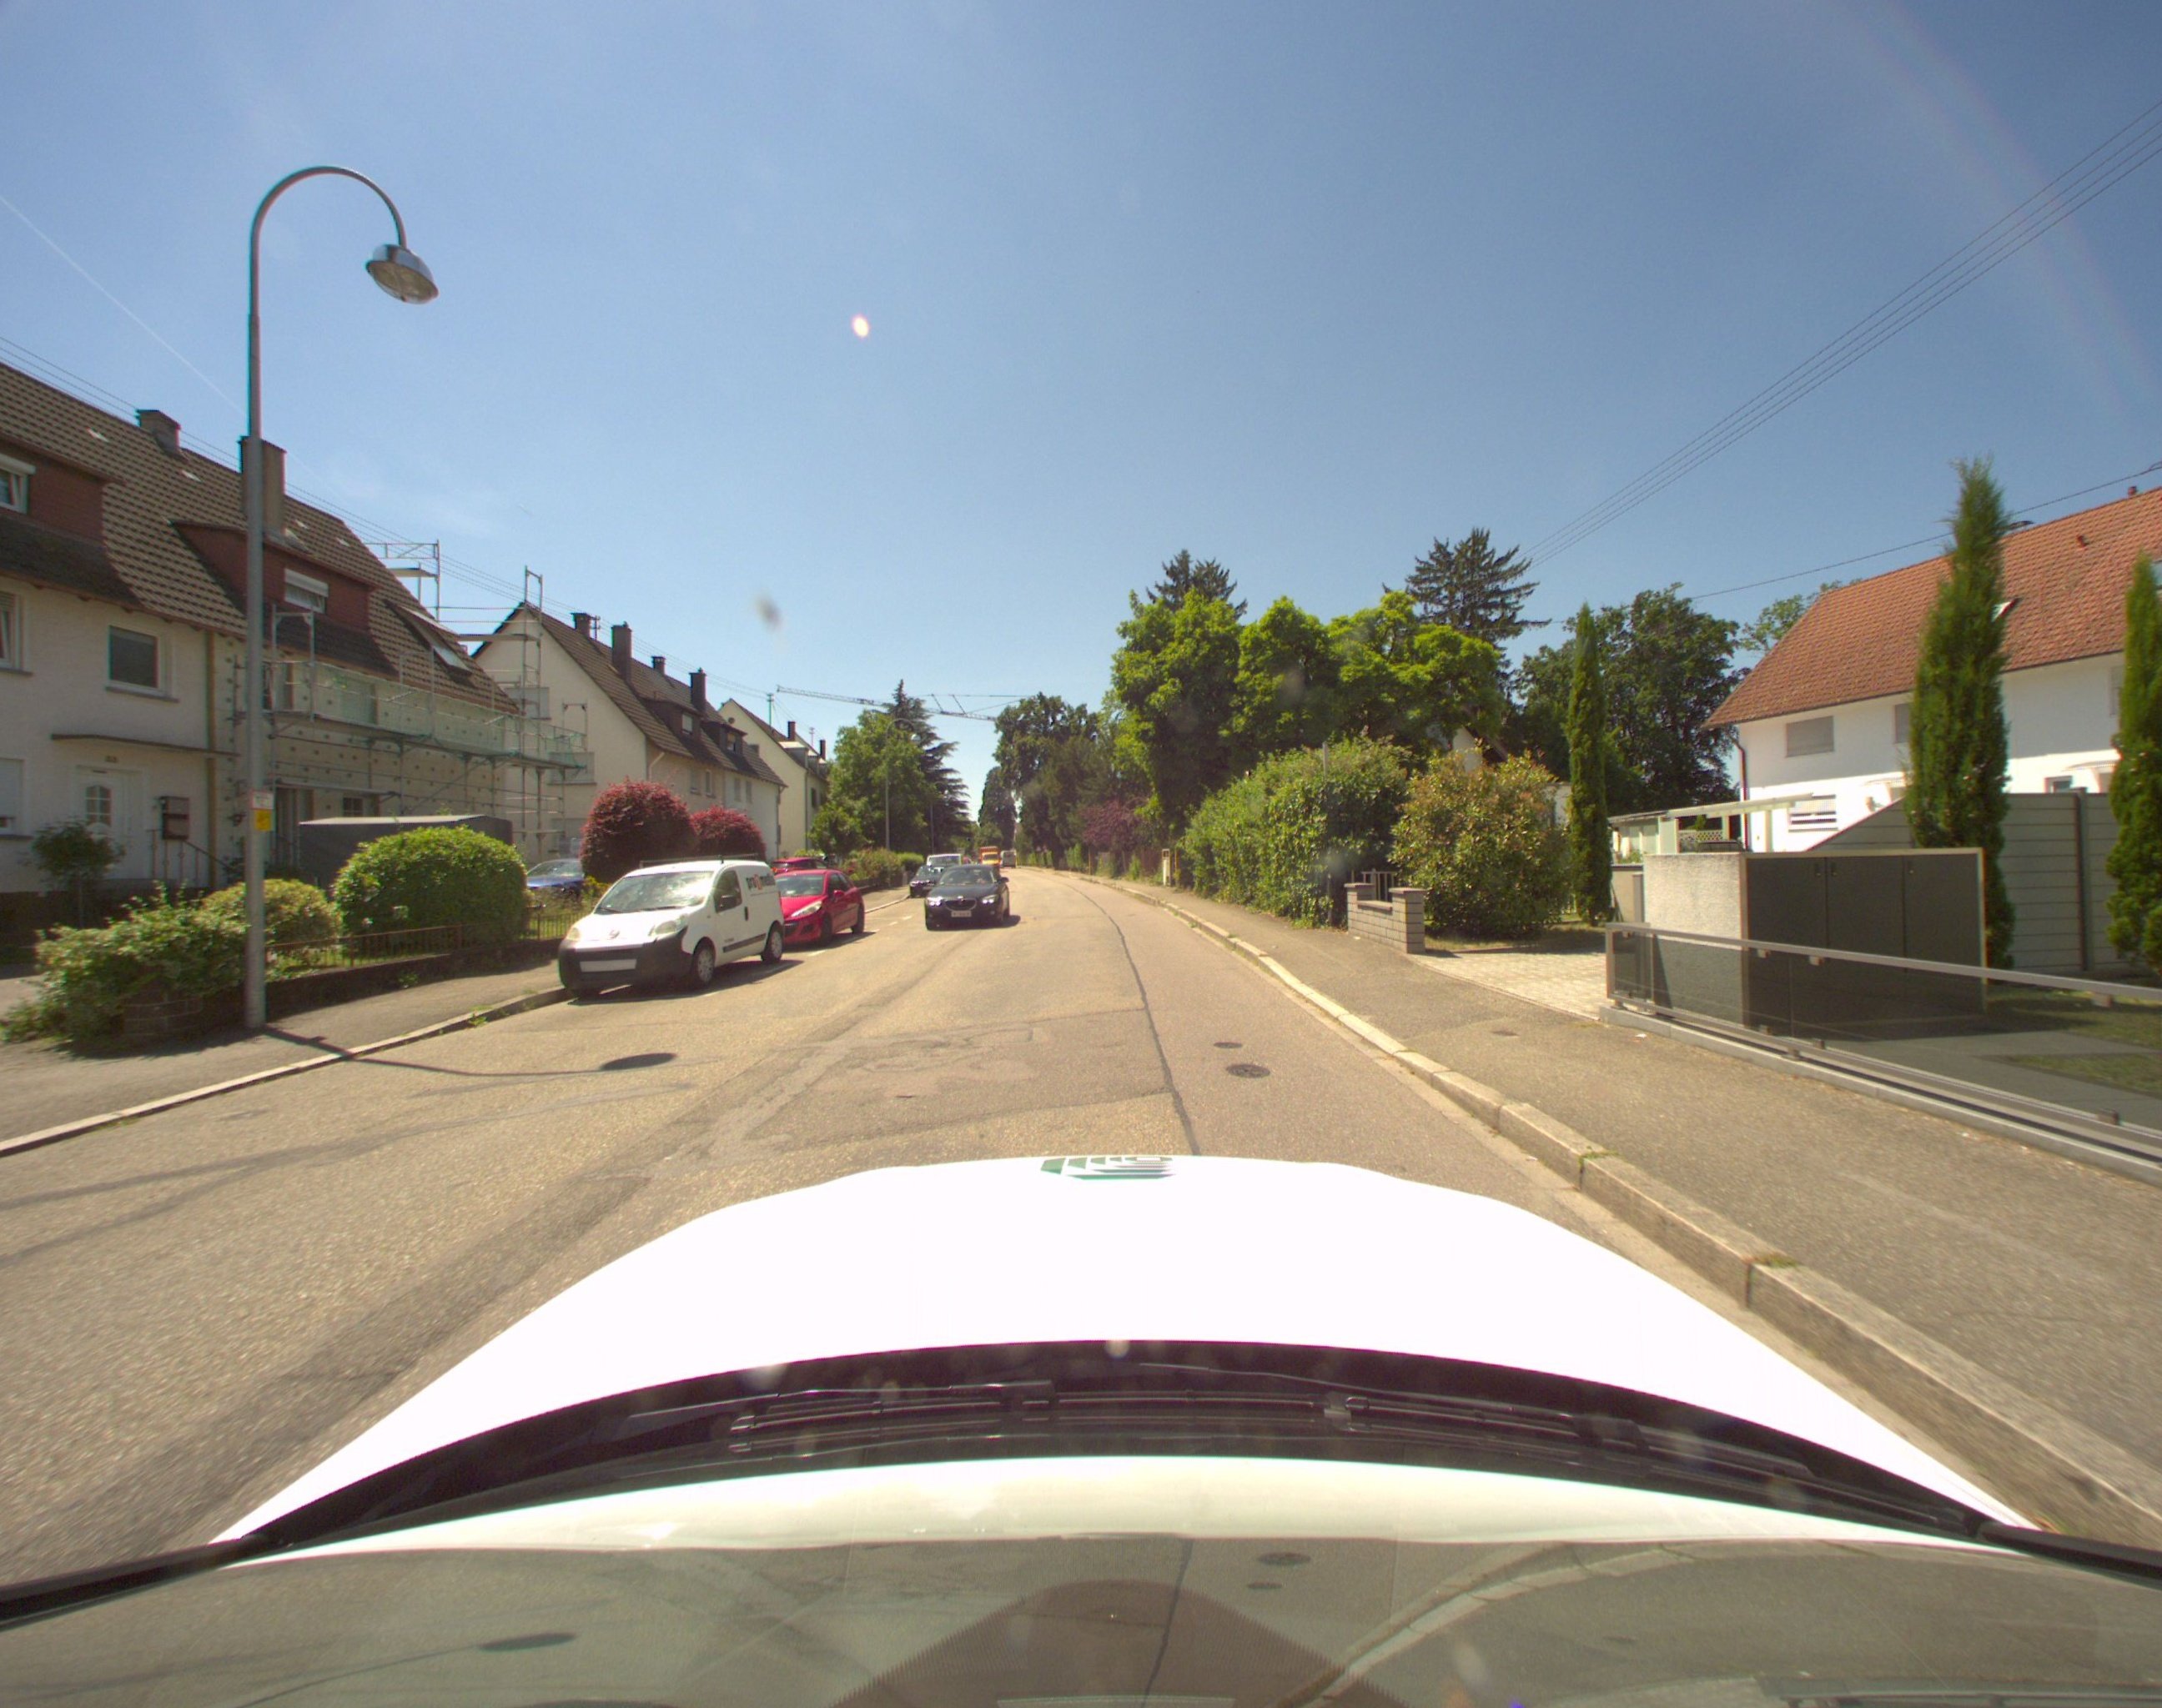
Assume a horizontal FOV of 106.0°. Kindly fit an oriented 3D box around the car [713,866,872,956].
[{"bbox_3d":[-5.731,1.063,16.742,1.755,1.477,4.056,-4,0,-1],"label":"car"}]

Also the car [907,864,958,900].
[{"bbox_3d":[-6.643,1.228,36.747,1.695,1.384,4.229,-4,0,-4],"label":"car"}]

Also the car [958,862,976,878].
[{"bbox_3d":[-12.912,1.795,92.126,1.851,1.671,4.697,-4,0,-9],"label":"car"}]

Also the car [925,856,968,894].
[{"bbox_3d":[-7.254,1.136,44.311,1.883,1.881,4.970,-2,-1,-5],"label":"car"}]

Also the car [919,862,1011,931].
[{"bbox_3d":[-2.681,0.950,19.694,1.728,1.417,3.996,-3,-1,-2],"label":"car"}]

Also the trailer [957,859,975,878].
[{"bbox_3d":[-13.623,1.689,96.490,1.847,2.040,4.149,-4,0,-9],"label":"trailer"}]

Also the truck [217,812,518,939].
[{"bbox_3d":[-12.295,0.354,14.208,3.757,1.938,1.545,-2,0,-2],"label":"truck"}]

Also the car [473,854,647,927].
[{"bbox_3d":[-12.358,0.798,19.664,1.681,1.514,3.996,2,0,-3],"label":"car"}]

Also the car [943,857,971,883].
[{"bbox_3d":[-8.792,1.103,57.888,1.756,1.727,4.447,-3,0,-7],"label":"car"}]

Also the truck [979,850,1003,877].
[{"bbox_3d":[-10.249,1.047,92.412,2.373,2.830,5.640,-3,0,-9],"label":"truck"}]

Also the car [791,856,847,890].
[{"bbox_3d":[-15.079,1.070,47.110,1.707,1.870,4.003,0,-1,3],"label":"car"}]

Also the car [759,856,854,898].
[{"bbox_3d":[-11.941,0.954,35.710,1.628,1.511,4.135,2,3,22],"label":"car"}]

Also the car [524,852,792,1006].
[{"bbox_3d":[-5.798,0.913,11.782,1.717,1.736,3.886,-4,0,0],"label":"car"}]

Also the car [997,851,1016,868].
[{"bbox_3d":[-10.936,0.835,118.968,2.145,2.315,4.832,-3,0,-12],"label":"car"}]
